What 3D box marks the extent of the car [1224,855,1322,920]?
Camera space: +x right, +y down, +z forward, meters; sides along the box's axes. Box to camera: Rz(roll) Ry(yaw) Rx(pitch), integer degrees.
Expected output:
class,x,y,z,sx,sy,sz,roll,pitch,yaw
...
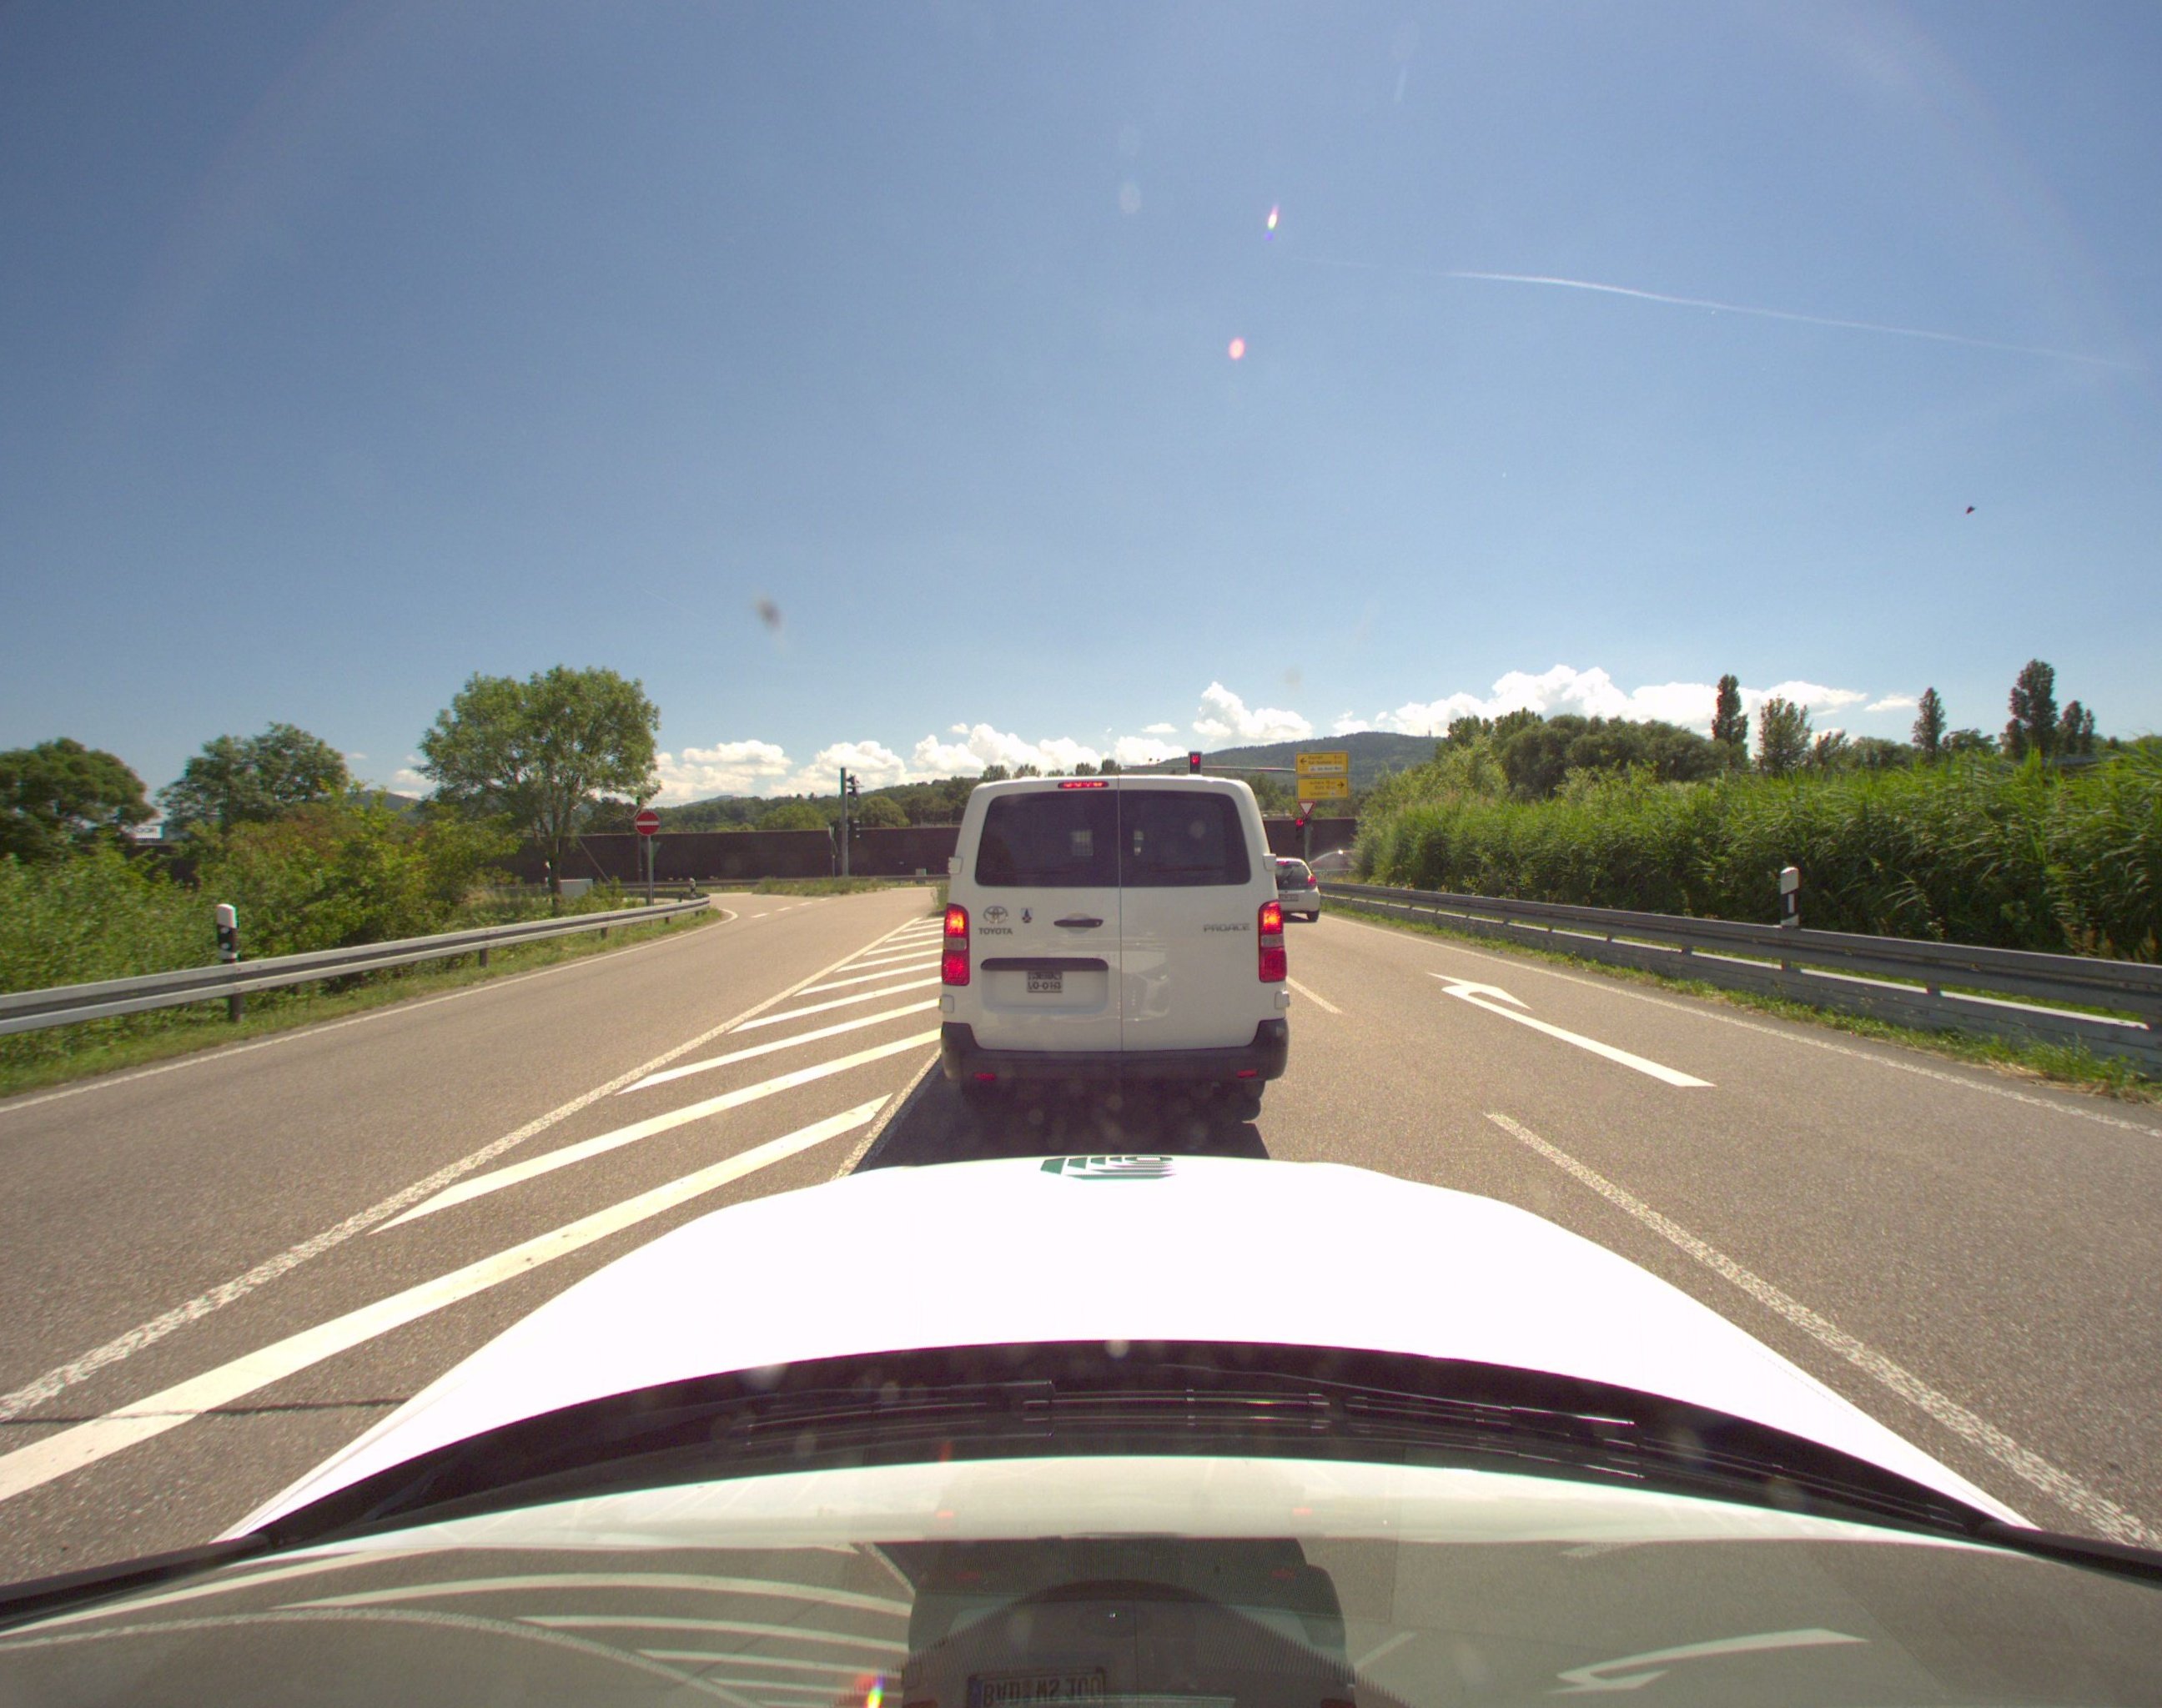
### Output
class,x,y,z,sx,sy,sz,roll,pitch,yaw
car,4.555,0.761,19.780,1.650,1.431,3.366,-1,0,1

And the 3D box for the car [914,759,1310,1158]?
class,x,y,z,sx,sy,sz,roll,pitch,yaw
car,0.192,0.512,5.899,1.880,1.886,4.001,-1,0,1

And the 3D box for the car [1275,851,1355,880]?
class,x,y,z,sx,sy,sz,roll,pitch,yaw
car,14.266,0.671,49.808,4.298,1.656,1.999,-1,0,-2

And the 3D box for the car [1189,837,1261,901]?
class,x,y,z,sx,sy,sz,roll,pitch,yaw
car,4.920,0.493,28.400,1.920,2.000,4.842,-1,0,4
